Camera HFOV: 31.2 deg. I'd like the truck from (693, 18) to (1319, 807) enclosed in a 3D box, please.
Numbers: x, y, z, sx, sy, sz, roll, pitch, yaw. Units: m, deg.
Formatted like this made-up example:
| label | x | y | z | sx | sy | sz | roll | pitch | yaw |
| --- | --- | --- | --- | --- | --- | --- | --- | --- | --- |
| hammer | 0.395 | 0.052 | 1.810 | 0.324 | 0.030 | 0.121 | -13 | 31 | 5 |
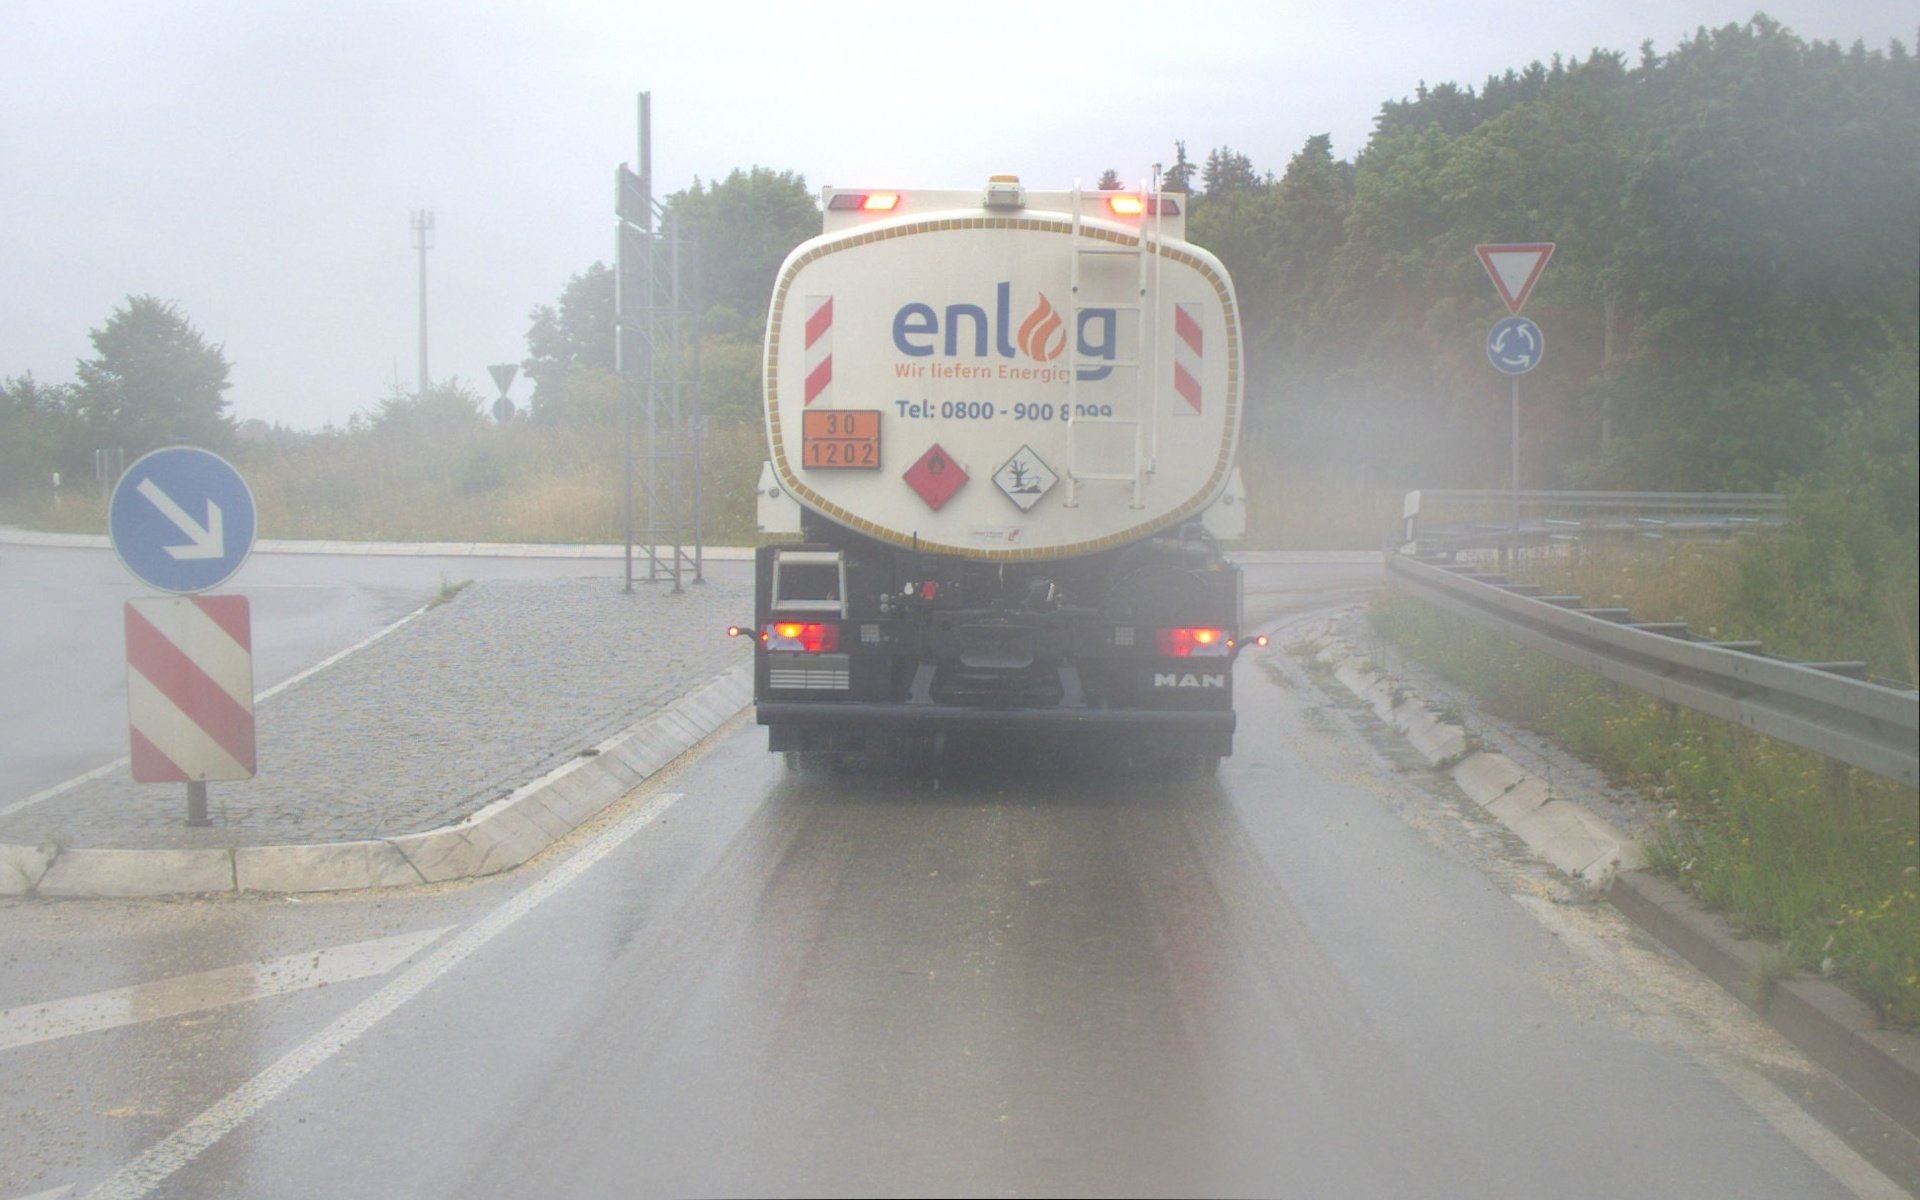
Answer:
| label | x | y | z | sx | sy | sz | roll | pitch | yaw |
| --- | --- | --- | --- | --- | --- | --- | --- | --- | --- |
| truck | 0.383 | -1.084 | 21.230 | 3.039 | 3.838 | 8.823 | 0 | 2 | 2 |
